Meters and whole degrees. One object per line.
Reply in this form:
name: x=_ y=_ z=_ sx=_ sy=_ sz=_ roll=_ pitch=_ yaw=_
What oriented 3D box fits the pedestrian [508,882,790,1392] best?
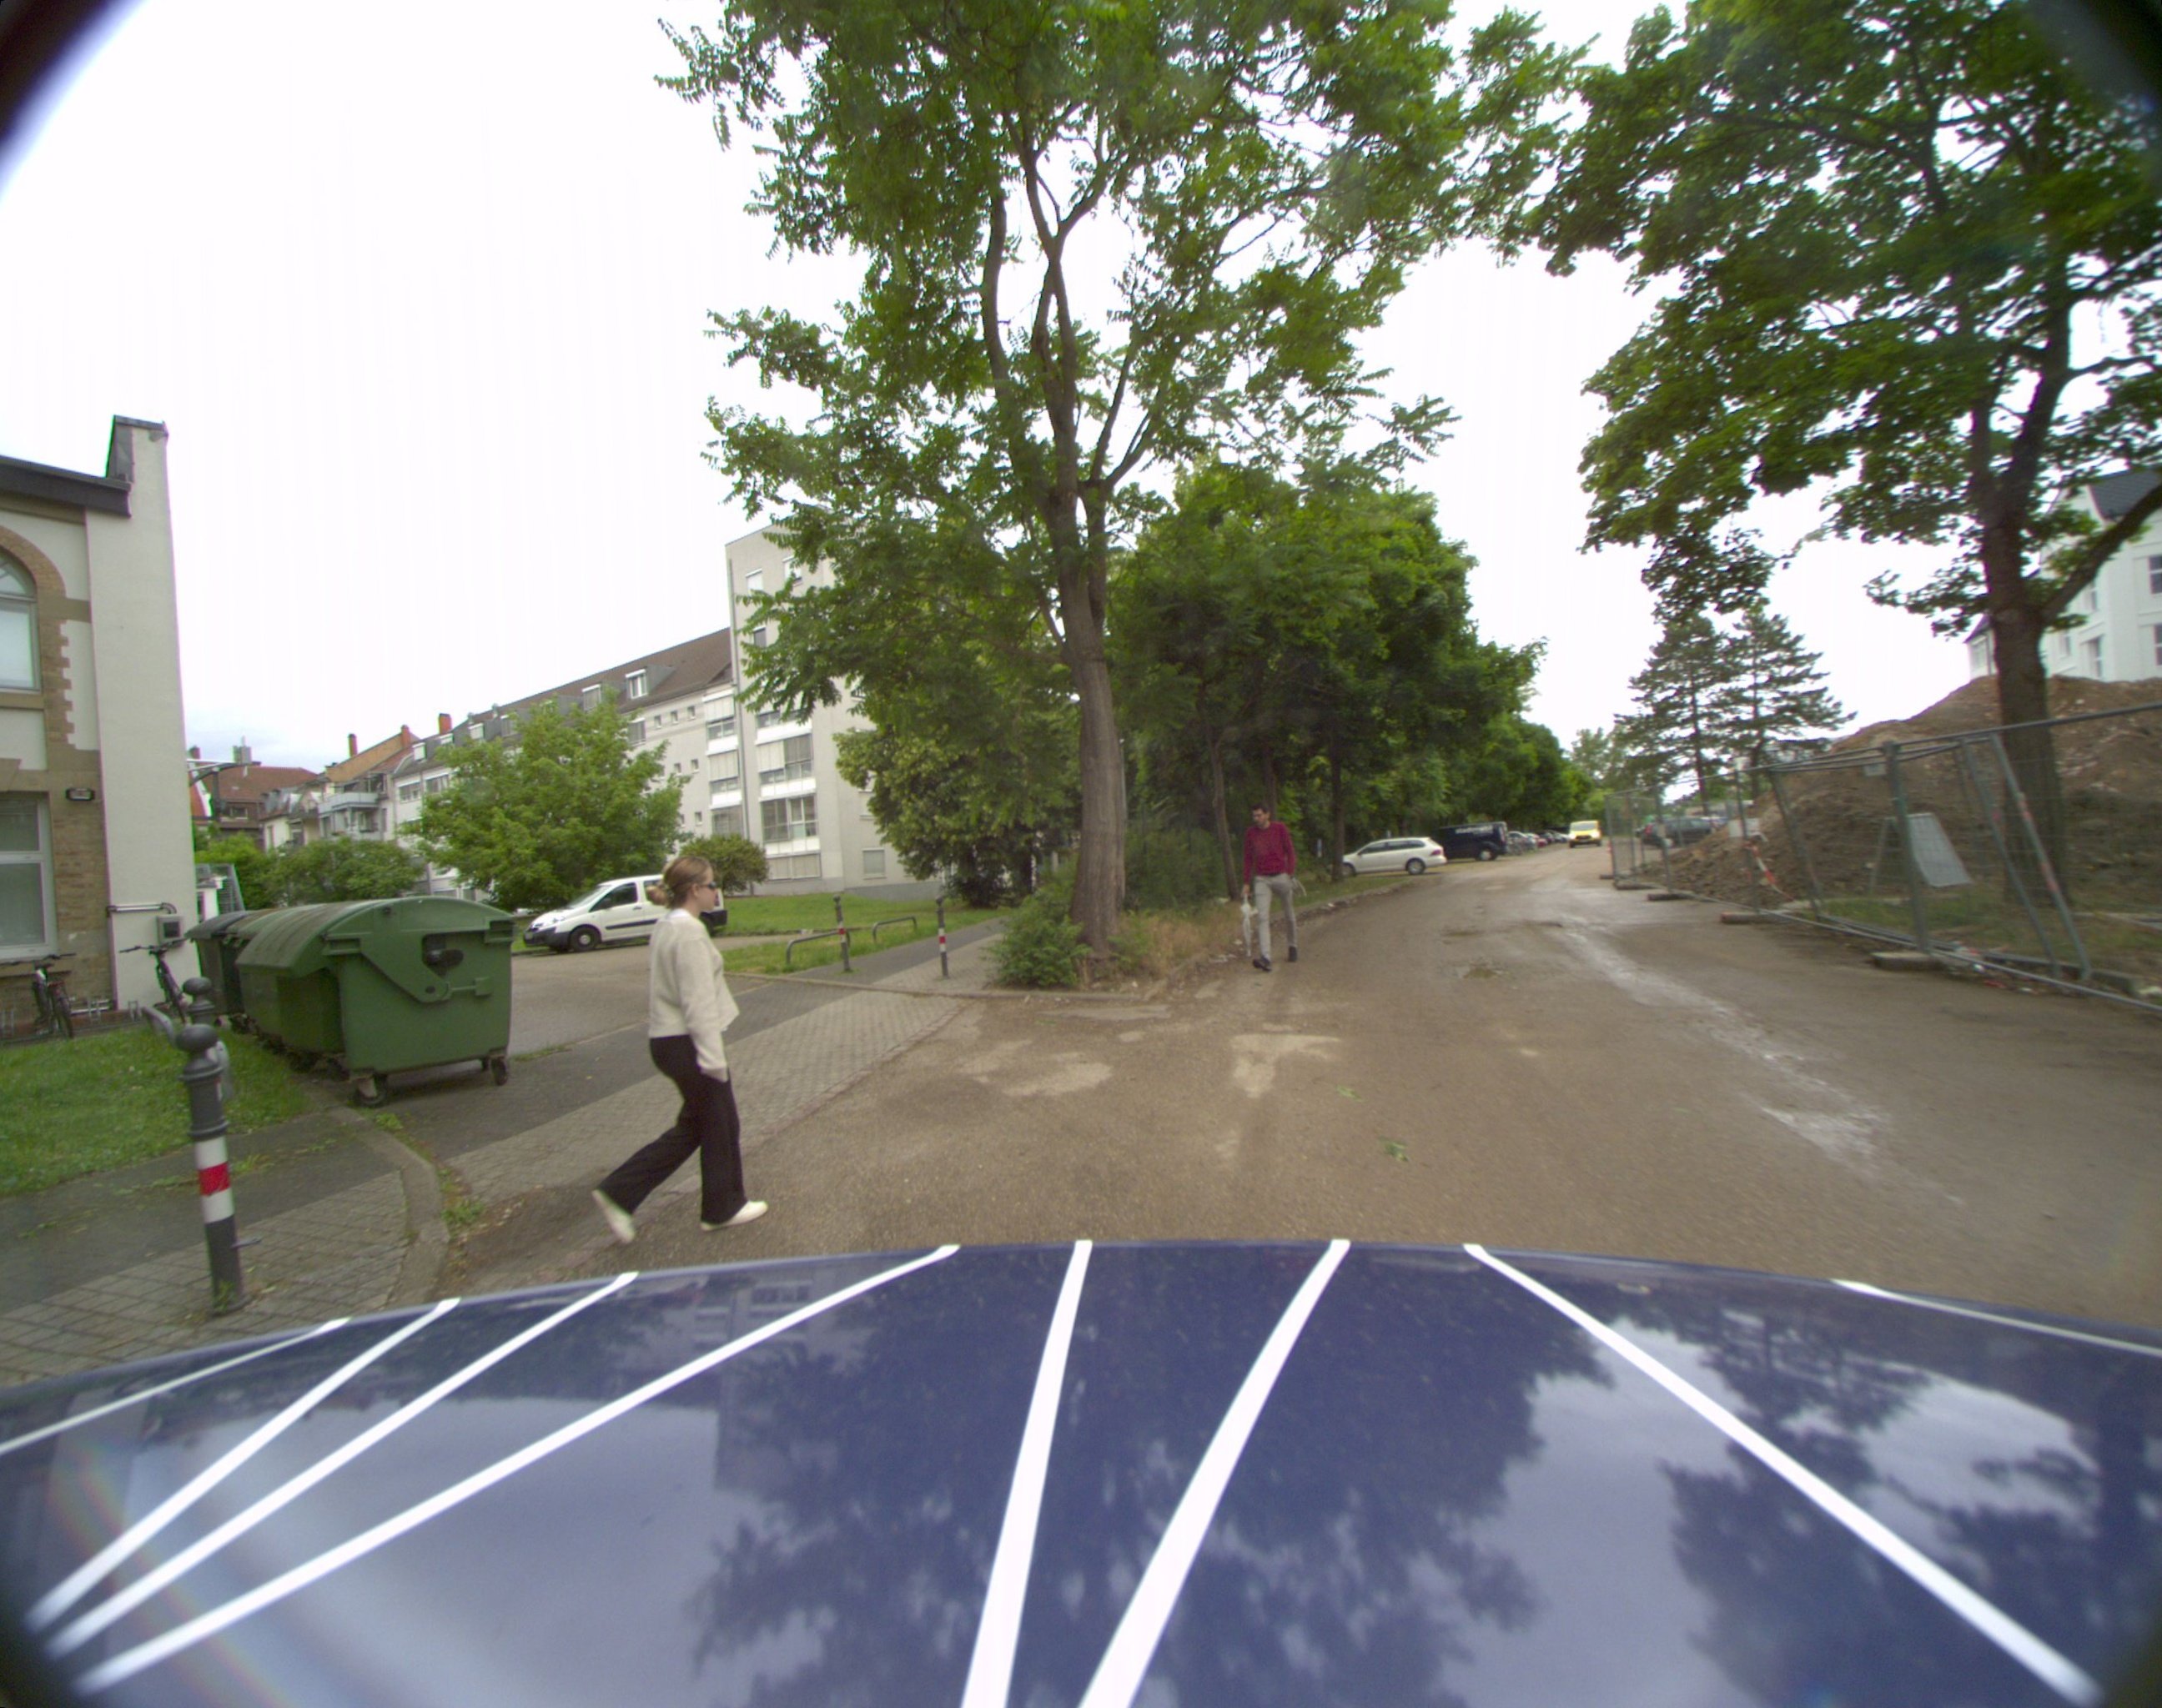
pedestrian: x=-1.704 y=1.033 z=3.136 sx=0.752 sy=1.771 sz=0.662 roll=-4 pitch=1 yaw=-14

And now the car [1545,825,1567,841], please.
car: x=52.592 y=-2.357 z=84.126 sx=1.995 sy=1.586 sz=4.007 roll=-4 pitch=0 yaw=32

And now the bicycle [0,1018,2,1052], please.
bicycle: x=-13.643 y=1.968 z=9.234 sx=1.740 sy=1.108 sz=0.461 roll=-4 pitch=0 yaw=39

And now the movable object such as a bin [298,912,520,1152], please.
movable object such as a bin: x=-5.034 y=1.210 z=5.713 sx=1.074 sy=1.426 sz=1.272 roll=-4 pitch=0 yaw=-44

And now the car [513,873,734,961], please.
car: x=-12.554 y=1.674 z=21.171 sx=1.897 sy=1.861 sz=4.782 roll=-7 pitch=-2 yaw=38

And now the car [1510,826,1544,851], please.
car: x=31.209 y=-1.074 z=53.235 sx=1.817 sy=1.586 sz=4.006 roll=-4 pitch=0 yaw=28

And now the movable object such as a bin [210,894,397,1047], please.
movable object such as a bin: x=-8.566 y=1.227 z=8.384 sx=1.323 sy=1.442 sz=1.111 roll=-4 pitch=0 yaw=32

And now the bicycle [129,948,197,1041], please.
bicycle: x=-12.709 y=1.898 z=10.505 sx=1.740 sy=1.108 sz=0.461 roll=-4 pitch=0 yaw=37

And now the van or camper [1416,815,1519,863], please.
van or camper: x=20.488 y=-0.787 z=40.356 sx=4.489 sy=2.245 sz=2.004 roll=-4 pitch=0 yaw=37

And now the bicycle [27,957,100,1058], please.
bicycle: x=-13.176 y=1.943 z=9.867 sx=1.740 sy=1.108 sz=0.461 roll=-4 pitch=0 yaw=39

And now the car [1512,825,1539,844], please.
car: x=40.432 y=-1.774 z=69.051 sx=1.995 sy=1.586 sz=4.007 roll=-4 pitch=0 yaw=32

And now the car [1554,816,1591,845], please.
car: x=37.755 y=-1.809 z=58.461 sx=2.120 sy=2.002 sz=4.007 roll=-4 pitch=0 yaw=30

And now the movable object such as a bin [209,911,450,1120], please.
movable object such as a bin: x=-6.355 y=1.274 z=6.448 sx=1.283 sy=1.442 sz=1.111 roll=-4 pitch=0 yaw=32

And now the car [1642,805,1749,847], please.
car: x=31.170 y=-1.386 z=38.584 sx=3.990 sy=1.827 sz=2.004 roll=-4 pitch=0 yaw=44

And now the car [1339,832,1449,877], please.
car: x=12.499 y=0.018 z=30.363 sx=3.877 sy=1.565 sz=1.755 roll=-4 pitch=0 yaw=25

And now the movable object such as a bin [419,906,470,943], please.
movable object such as a bin: x=-25.262 y=2.804 z=30.158 sx=1.225 sy=1.299 sz=1.183 roll=-5 pitch=0 yaw=35

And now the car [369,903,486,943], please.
car: x=-35.832 y=3.747 z=41.774 sx=1.995 sy=1.724 sz=4.349 roll=-4 pitch=0 yaw=31

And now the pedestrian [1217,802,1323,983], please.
pedestrian: x=2.334 y=0.437 z=9.288 sx=0.793 sy=2.052 sz=1.203 roll=-3 pitch=0 yaw=33

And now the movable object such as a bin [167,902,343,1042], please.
movable object such as a bin: x=-9.938 y=1.373 z=9.158 sx=1.359 sy=1.442 sz=1.111 roll=-4 pitch=0 yaw=31

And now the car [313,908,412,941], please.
car: x=-47.741 y=4.683 z=50.590 sx=1.995 sy=1.724 sz=4.349 roll=-4 pitch=0 yaw=31

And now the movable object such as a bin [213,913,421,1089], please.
movable object such as a bin: x=-7.494 y=1.366 z=7.469 sx=1.291 sy=1.442 sz=1.111 roll=-4 pitch=0 yaw=32

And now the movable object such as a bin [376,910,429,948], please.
movable object such as a bin: x=-26.020 y=2.855 z=29.133 sx=1.225 sy=1.299 sz=1.183 roll=-5 pitch=0 yaw=35

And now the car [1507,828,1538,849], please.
car: x=36.198 y=-1.303 z=62.358 sx=1.995 sy=1.586 sz=4.007 roll=-4 pitch=0 yaw=29
